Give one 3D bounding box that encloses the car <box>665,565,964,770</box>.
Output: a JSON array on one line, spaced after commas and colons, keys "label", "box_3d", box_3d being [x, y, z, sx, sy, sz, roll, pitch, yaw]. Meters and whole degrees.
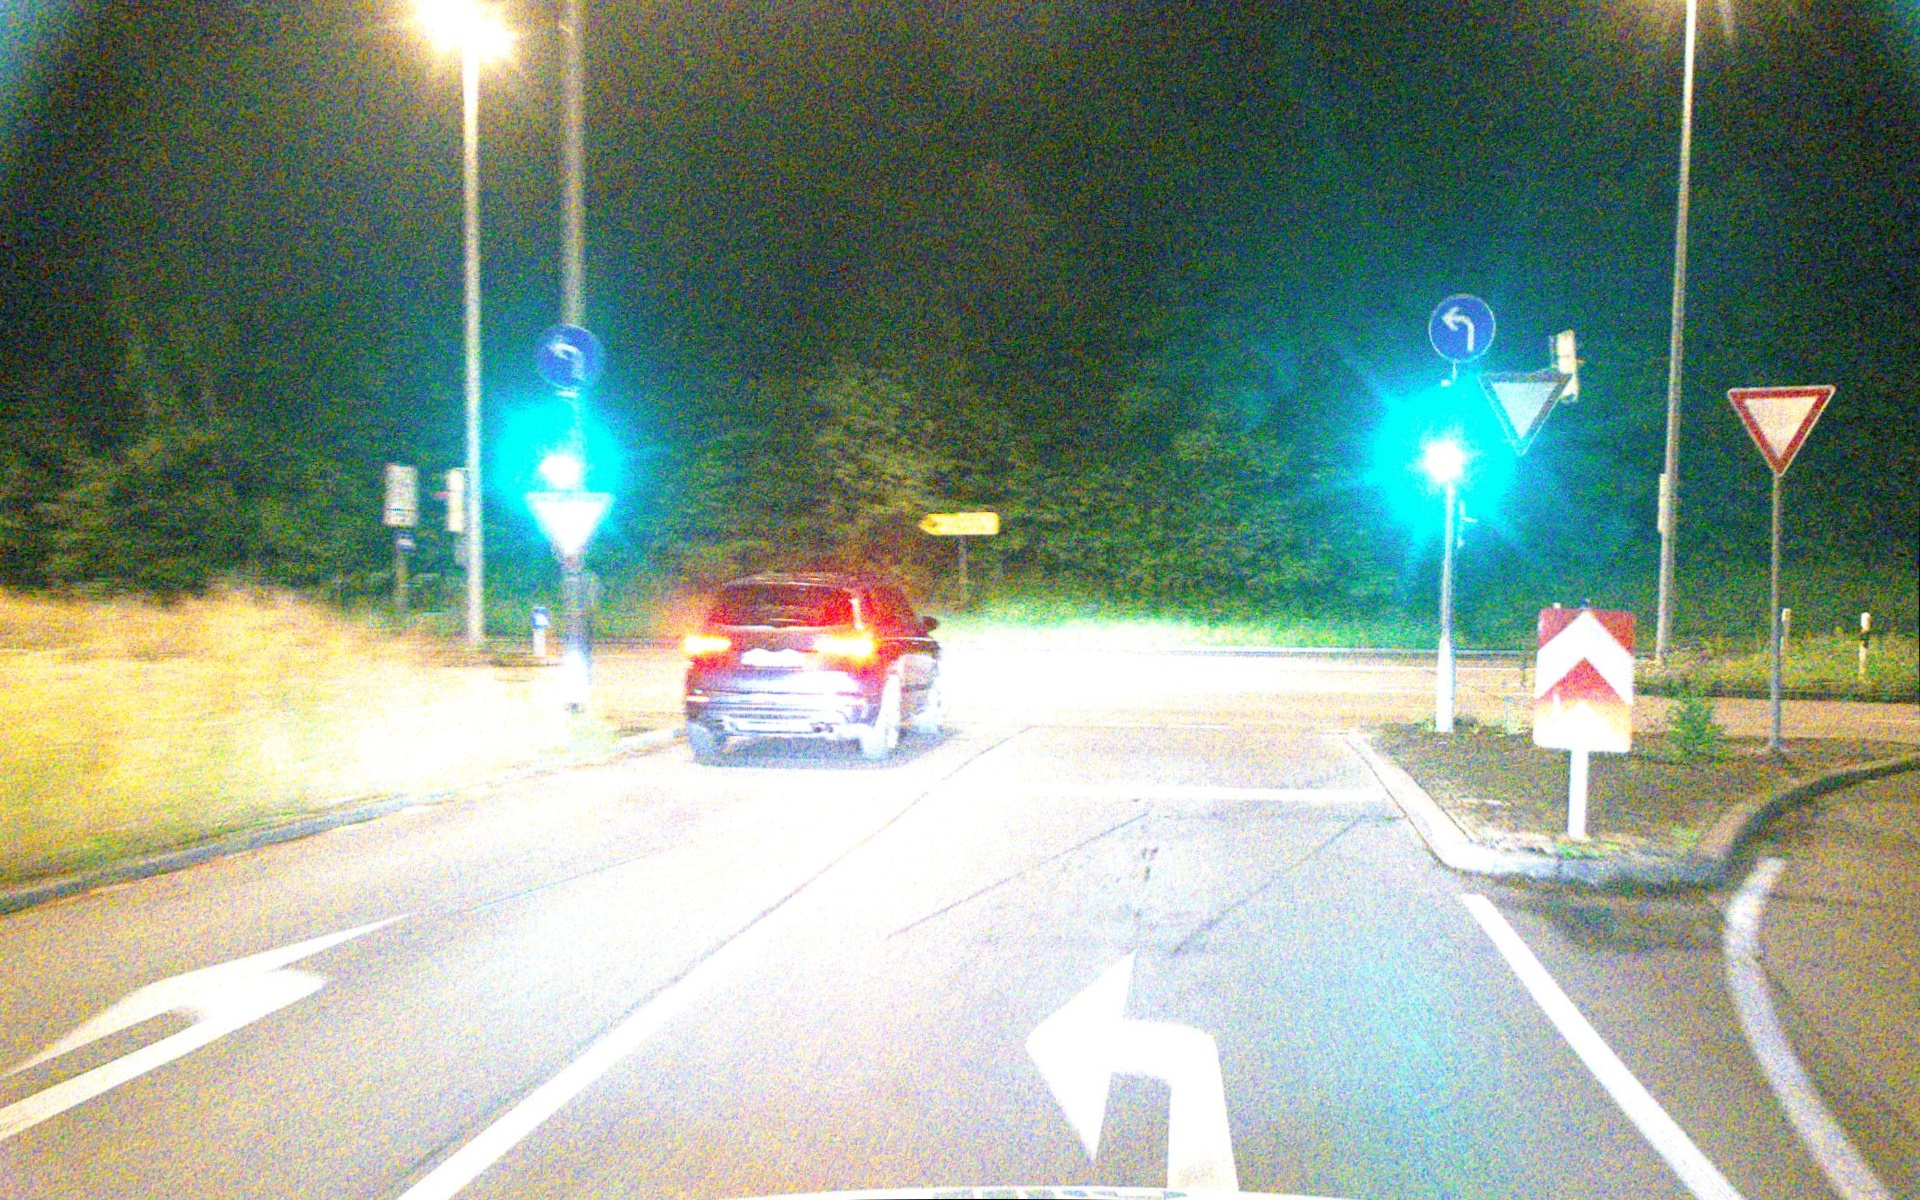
[{"label": "car", "box_3d": [-1.187, 0.521, 15.394, 1.812, 1.610, 4.010, 1, 1, 9]}]
